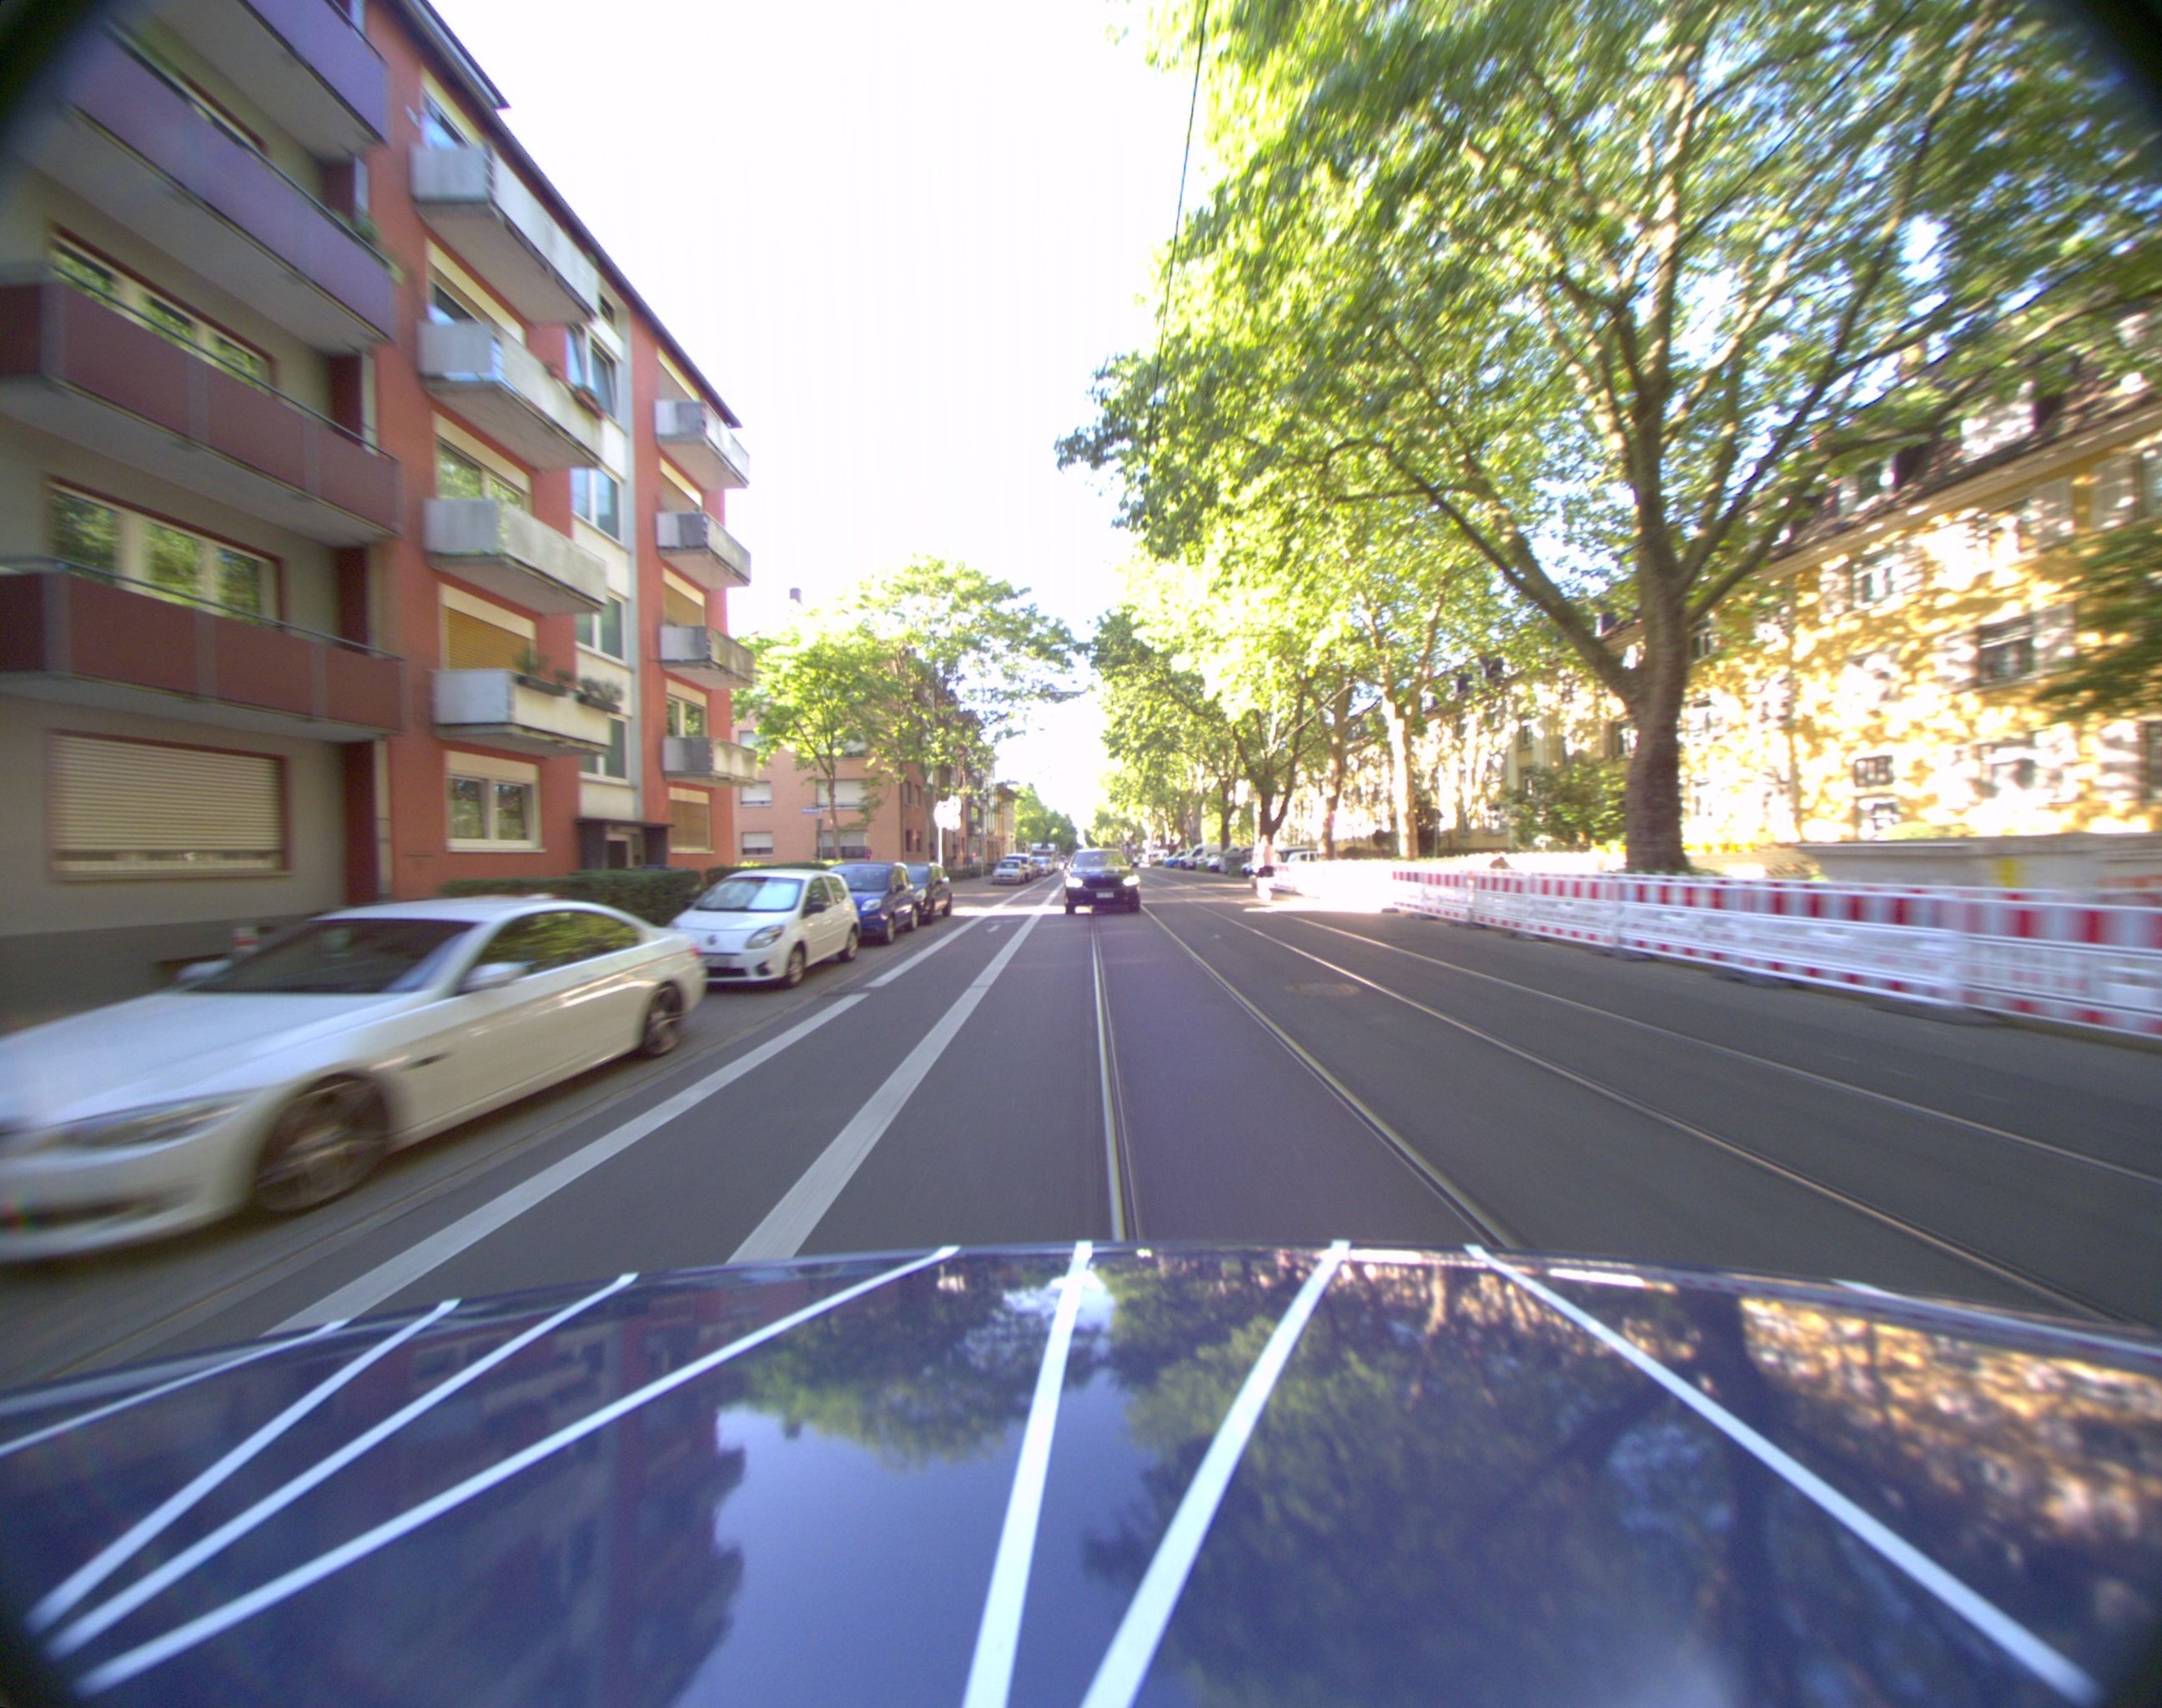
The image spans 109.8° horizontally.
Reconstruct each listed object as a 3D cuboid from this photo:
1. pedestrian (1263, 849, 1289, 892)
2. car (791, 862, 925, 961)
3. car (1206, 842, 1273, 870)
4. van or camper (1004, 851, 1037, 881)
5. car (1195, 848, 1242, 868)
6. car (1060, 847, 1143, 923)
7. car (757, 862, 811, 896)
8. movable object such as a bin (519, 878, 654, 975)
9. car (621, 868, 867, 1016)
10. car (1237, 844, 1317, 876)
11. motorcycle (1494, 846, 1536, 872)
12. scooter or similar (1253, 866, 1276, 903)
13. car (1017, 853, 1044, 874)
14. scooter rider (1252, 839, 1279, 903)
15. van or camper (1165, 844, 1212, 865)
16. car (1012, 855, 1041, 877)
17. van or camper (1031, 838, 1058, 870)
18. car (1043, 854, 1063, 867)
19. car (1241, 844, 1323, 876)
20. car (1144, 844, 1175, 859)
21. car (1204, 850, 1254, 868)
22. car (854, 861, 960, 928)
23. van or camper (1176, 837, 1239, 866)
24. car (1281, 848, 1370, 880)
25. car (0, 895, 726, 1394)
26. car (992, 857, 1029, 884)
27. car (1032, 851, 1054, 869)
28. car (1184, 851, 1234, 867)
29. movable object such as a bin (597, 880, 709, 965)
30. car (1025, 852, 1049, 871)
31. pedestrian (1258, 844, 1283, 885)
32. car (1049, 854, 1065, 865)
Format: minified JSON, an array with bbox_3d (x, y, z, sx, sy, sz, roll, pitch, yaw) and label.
[{"bbox_3d":[8.100,0.682,31.562,0.824,1.735,0.796,-2,1,1],"label":"pedestrian"},{"bbox_3d":[-4.246,1.019,15.037,1.530,1.581,3.751,-2,1,-1],"label":"car"},{"bbox_3d":[12.032,0.164,57.867,4.669,1.934,1.961,-2,0,-2],"label":"car"},{"bbox_3d":[-3.885,0.746,49.341,1.759,1.853,4.830,-1,0,0],"label":"van or camper"},{"bbox_3d":[12.013,0.309,66.529,3.857,1.653,1.862,-1,0,1],"label":"car"},{"bbox_3d":[0.515,0.742,20.545,1.924,1.741,4.806,-2,0,0],"label":"car"},{"bbox_3d":[-14.416,1.159,36.747,1.730,1.531,3.990,-2,0,-32],"label":"car"},{"bbox_3d":[-7.703,1.091,11.948,0.926,1.319,1.681,-2,1,1],"label":"movable object such as a bin"},{"bbox_3d":[-4.329,1.027,10.450,1.595,1.518,3.835,1,1,1],"label":"car"},{"bbox_3d":[11.509,0.346,44.694,4.210,1.747,1.739,-2,0,-1],"label":"car"},{"bbox_3d":[21.427,0.260,37.540,1.714,1.234,0.523,-1,1,2],"label":"motorcycle"},{"bbox_3d":[5.717,0.941,23.714,0.408,1.077,1.338,-2,1,1],"label":"scooter or similar"},{"bbox_3d":[-3.924,0.754,59.751,1.772,1.563,4.336,1,0,0],"label":"car"},{"bbox_3d":[5.767,0.512,23.763,0.651,1.946,0.624,-2,1,1],"label":"scooter rider"},{"bbox_3d":[11.888,0.028,83.902,4.832,2.177,2.119,-2,0,0],"label":"van or camper"},{"bbox_3d":[-3.894,0.827,55.075,1.710,1.464,4.168,-1,0,1],"label":"car"},{"bbox_3d":[-3.628,-0.010,77.064,2.468,3.046,6.267,1,0,-1],"label":"van or camper"},{"bbox_3d":[-3.287,0.782,90.262,1.998,1.485,4.740,1,0,1],"label":"car"},{"bbox_3d":[11.166,0.346,42.429,4.242,1.678,1.934,-1,0,8],"label":"car"},{"bbox_3d":[13.338,-0.399,129.597,5.019,2.383,2.028,-2,0,-1],"label":"car"},{"bbox_3d":[12.455,0.401,64.230,3.857,1.489,1.862,-1,0,1],"label":"car"},{"bbox_3d":[-4.245,0.938,19.168,1.738,1.453,3.916,1,0,0],"label":"car"},{"bbox_3d":[11.828,-0.196,71.214,5.403,2.501,2.445,-2,0,0],"label":"van or camper"},{"bbox_3d":[12.261,0.486,38.295,3.857,1.489,1.862,-1,0,1],"label":"car"},{"bbox_3d":[-4.334,1.102,4.938,1.663,1.391,4.740,1,0,2],"label":"car"},{"bbox_3d":[-4.026,0.907,43.798,1.710,1.464,4.000,-1,0,1],"label":"car"},{"bbox_3d":[-3.472,0.523,70.717,1.797,1.618,4.276,1,0,0],"label":"car"},{"bbox_3d":[11.531,0.450,68.666,4.274,1.390,1.753,-1,0,1],"label":"car"},{"bbox_3d":[-7.662,1.197,13.715,0.969,1.319,1.721,-2,1,1],"label":"movable object such as a bin"},{"bbox_3d":[-3.729,0.597,64.509,1.793,1.513,4.321,1,0,-1],"label":"car"},{"bbox_3d":[8.089,0.439,32.454,0.824,1.735,0.796,-2,1,1],"label":"pedestrian"},{"bbox_3d":[-3.111,0.732,99.246,1.998,1.372,4.739,1,0,0],"label":"car"}]
